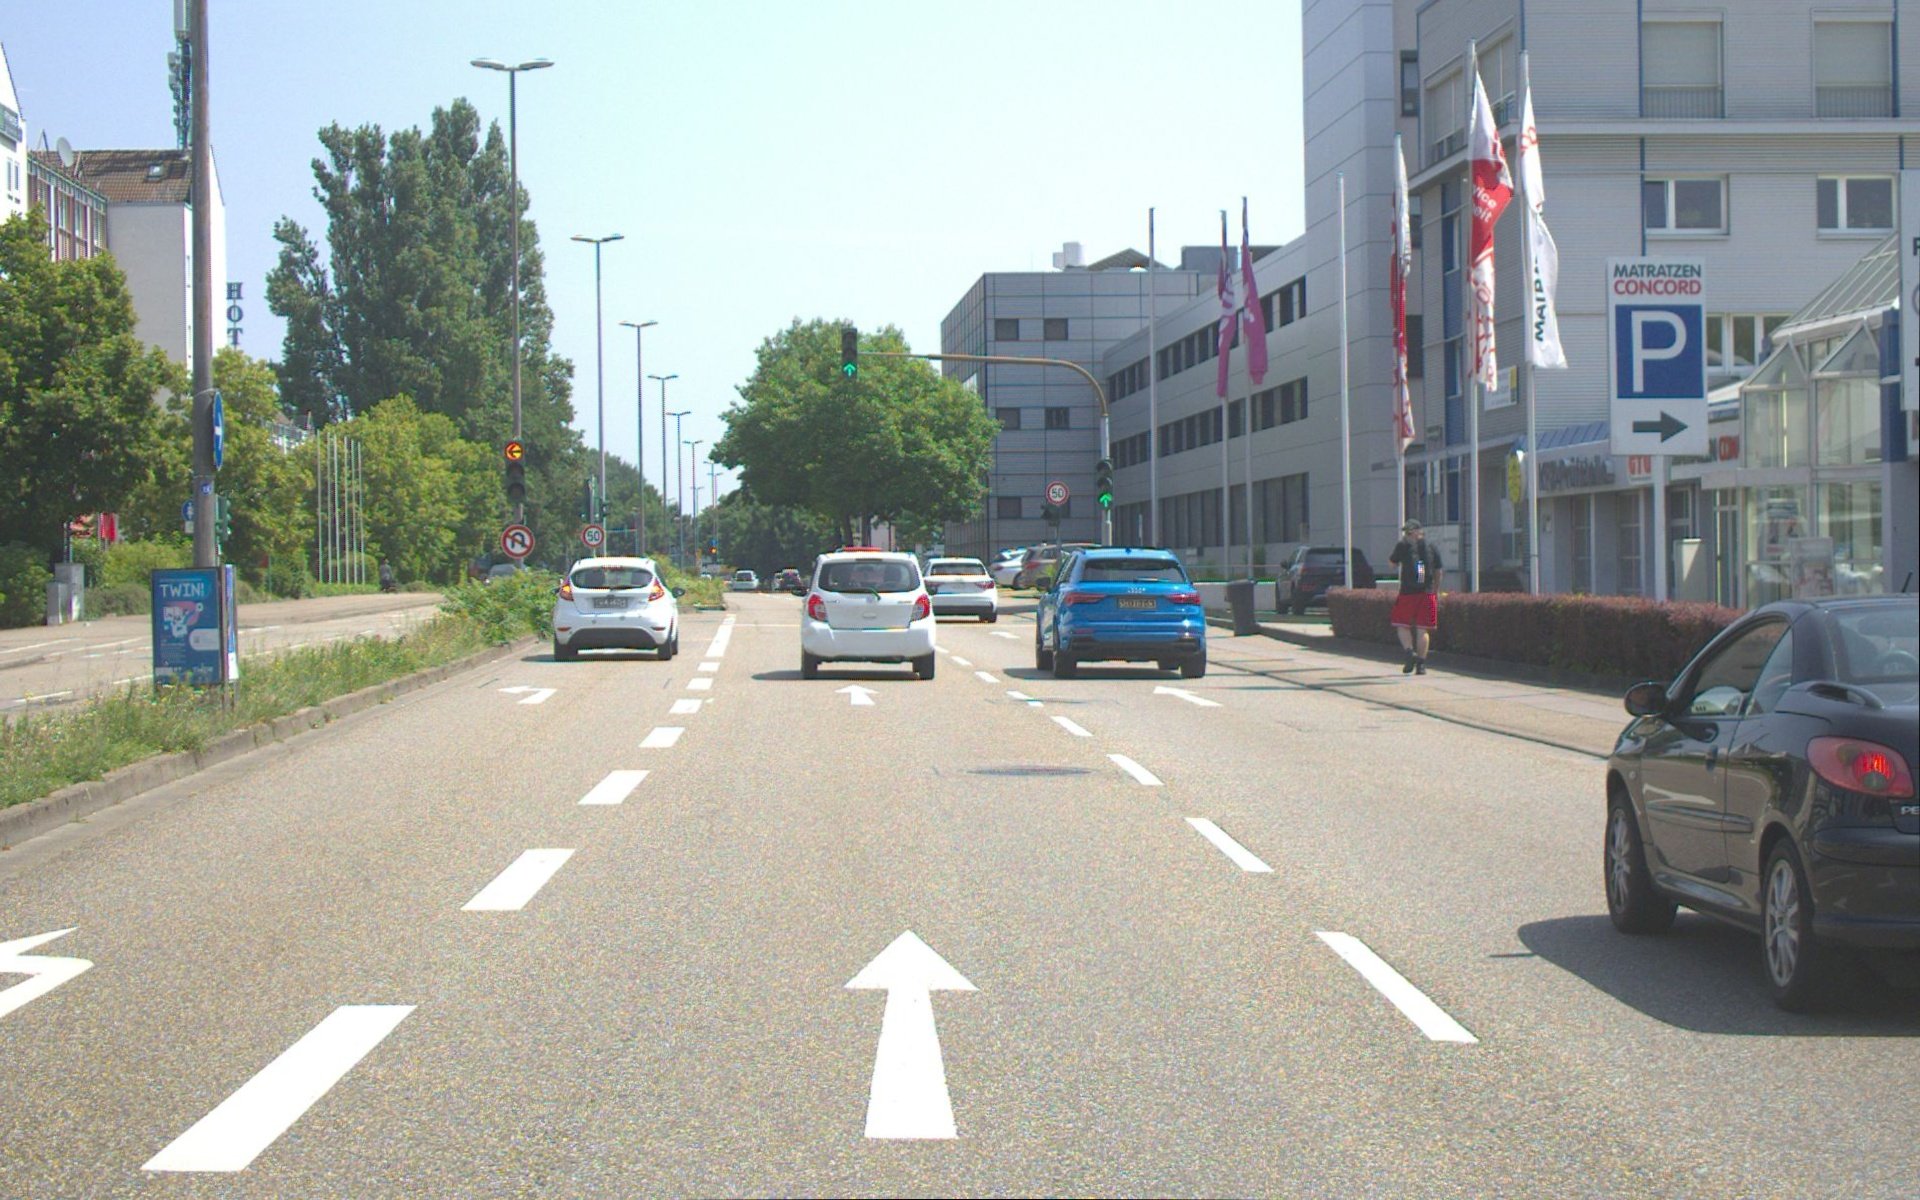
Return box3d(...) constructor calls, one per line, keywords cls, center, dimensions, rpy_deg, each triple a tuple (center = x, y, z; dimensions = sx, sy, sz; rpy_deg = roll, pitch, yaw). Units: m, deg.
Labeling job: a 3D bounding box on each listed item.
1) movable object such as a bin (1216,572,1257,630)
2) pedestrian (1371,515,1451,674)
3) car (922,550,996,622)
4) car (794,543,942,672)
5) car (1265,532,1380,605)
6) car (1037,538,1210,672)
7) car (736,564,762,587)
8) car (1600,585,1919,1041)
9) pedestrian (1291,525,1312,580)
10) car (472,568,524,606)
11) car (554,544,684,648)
box3d(cls="movable object such as a bin", center=(4.613, 0.013, 57.437), dimensions=(0.551, 0.916, 0.653), rpy_deg=(-4, 1, -3))
box3d(cls="pedestrian", center=(5.322, -0.069, 40.583), dimensions=(0.785, 1.840, 0.936), rpy_deg=(-1, 1, -1))
box3d(cls="car", center=(-0.043, -0.320, 75.236), dimensions=(1.559, 1.515, 3.605), rpy_deg=(-1, 1, -1))
box3d(cls="car", center=(-1.154, 0.062, 42.540), dimensions=(1.748, 1.515, 3.746), rpy_deg=(0, 1, -2))
box3d(cls="car", center=(7.944, -0.700, 75.669), dimensions=(1.843, 1.526, 4.197), rpy_deg=(1, 1, -3))
box3d(cls="car", center=(1.988, 0.031, 42.794), dimensions=(1.827, 1.575, 3.606), rpy_deg=(-1, 1, -2))
box3d(cls="car", center=(-15.472, -1.801, 251.462), dimensions=(1.819, 1.656, 4.001), rpy_deg=(-1, 1, -4))
box3d(cls="car", center=(3.440, 0.650, 12.361), dimensions=(1.627, 1.359, 3.605), rpy_deg=(0, 1, 0))
box3d(cls="pedestrian", center=(10.189, -1.409, 102.507), dimensions=(0.593, 1.629, 0.523), rpy_deg=(-1, 1, 5))
box3d(cls="car", center=(-18.996, -0.565, 141.380), dimensions=(1.993, 1.481, 4.502), rpy_deg=(-1, 1, -6))
box3d(cls="car", center=(-4.900, -0.091, 49.759), dimensions=(1.688, 1.429, 3.712), rpy_deg=(-1, 1, -3))
